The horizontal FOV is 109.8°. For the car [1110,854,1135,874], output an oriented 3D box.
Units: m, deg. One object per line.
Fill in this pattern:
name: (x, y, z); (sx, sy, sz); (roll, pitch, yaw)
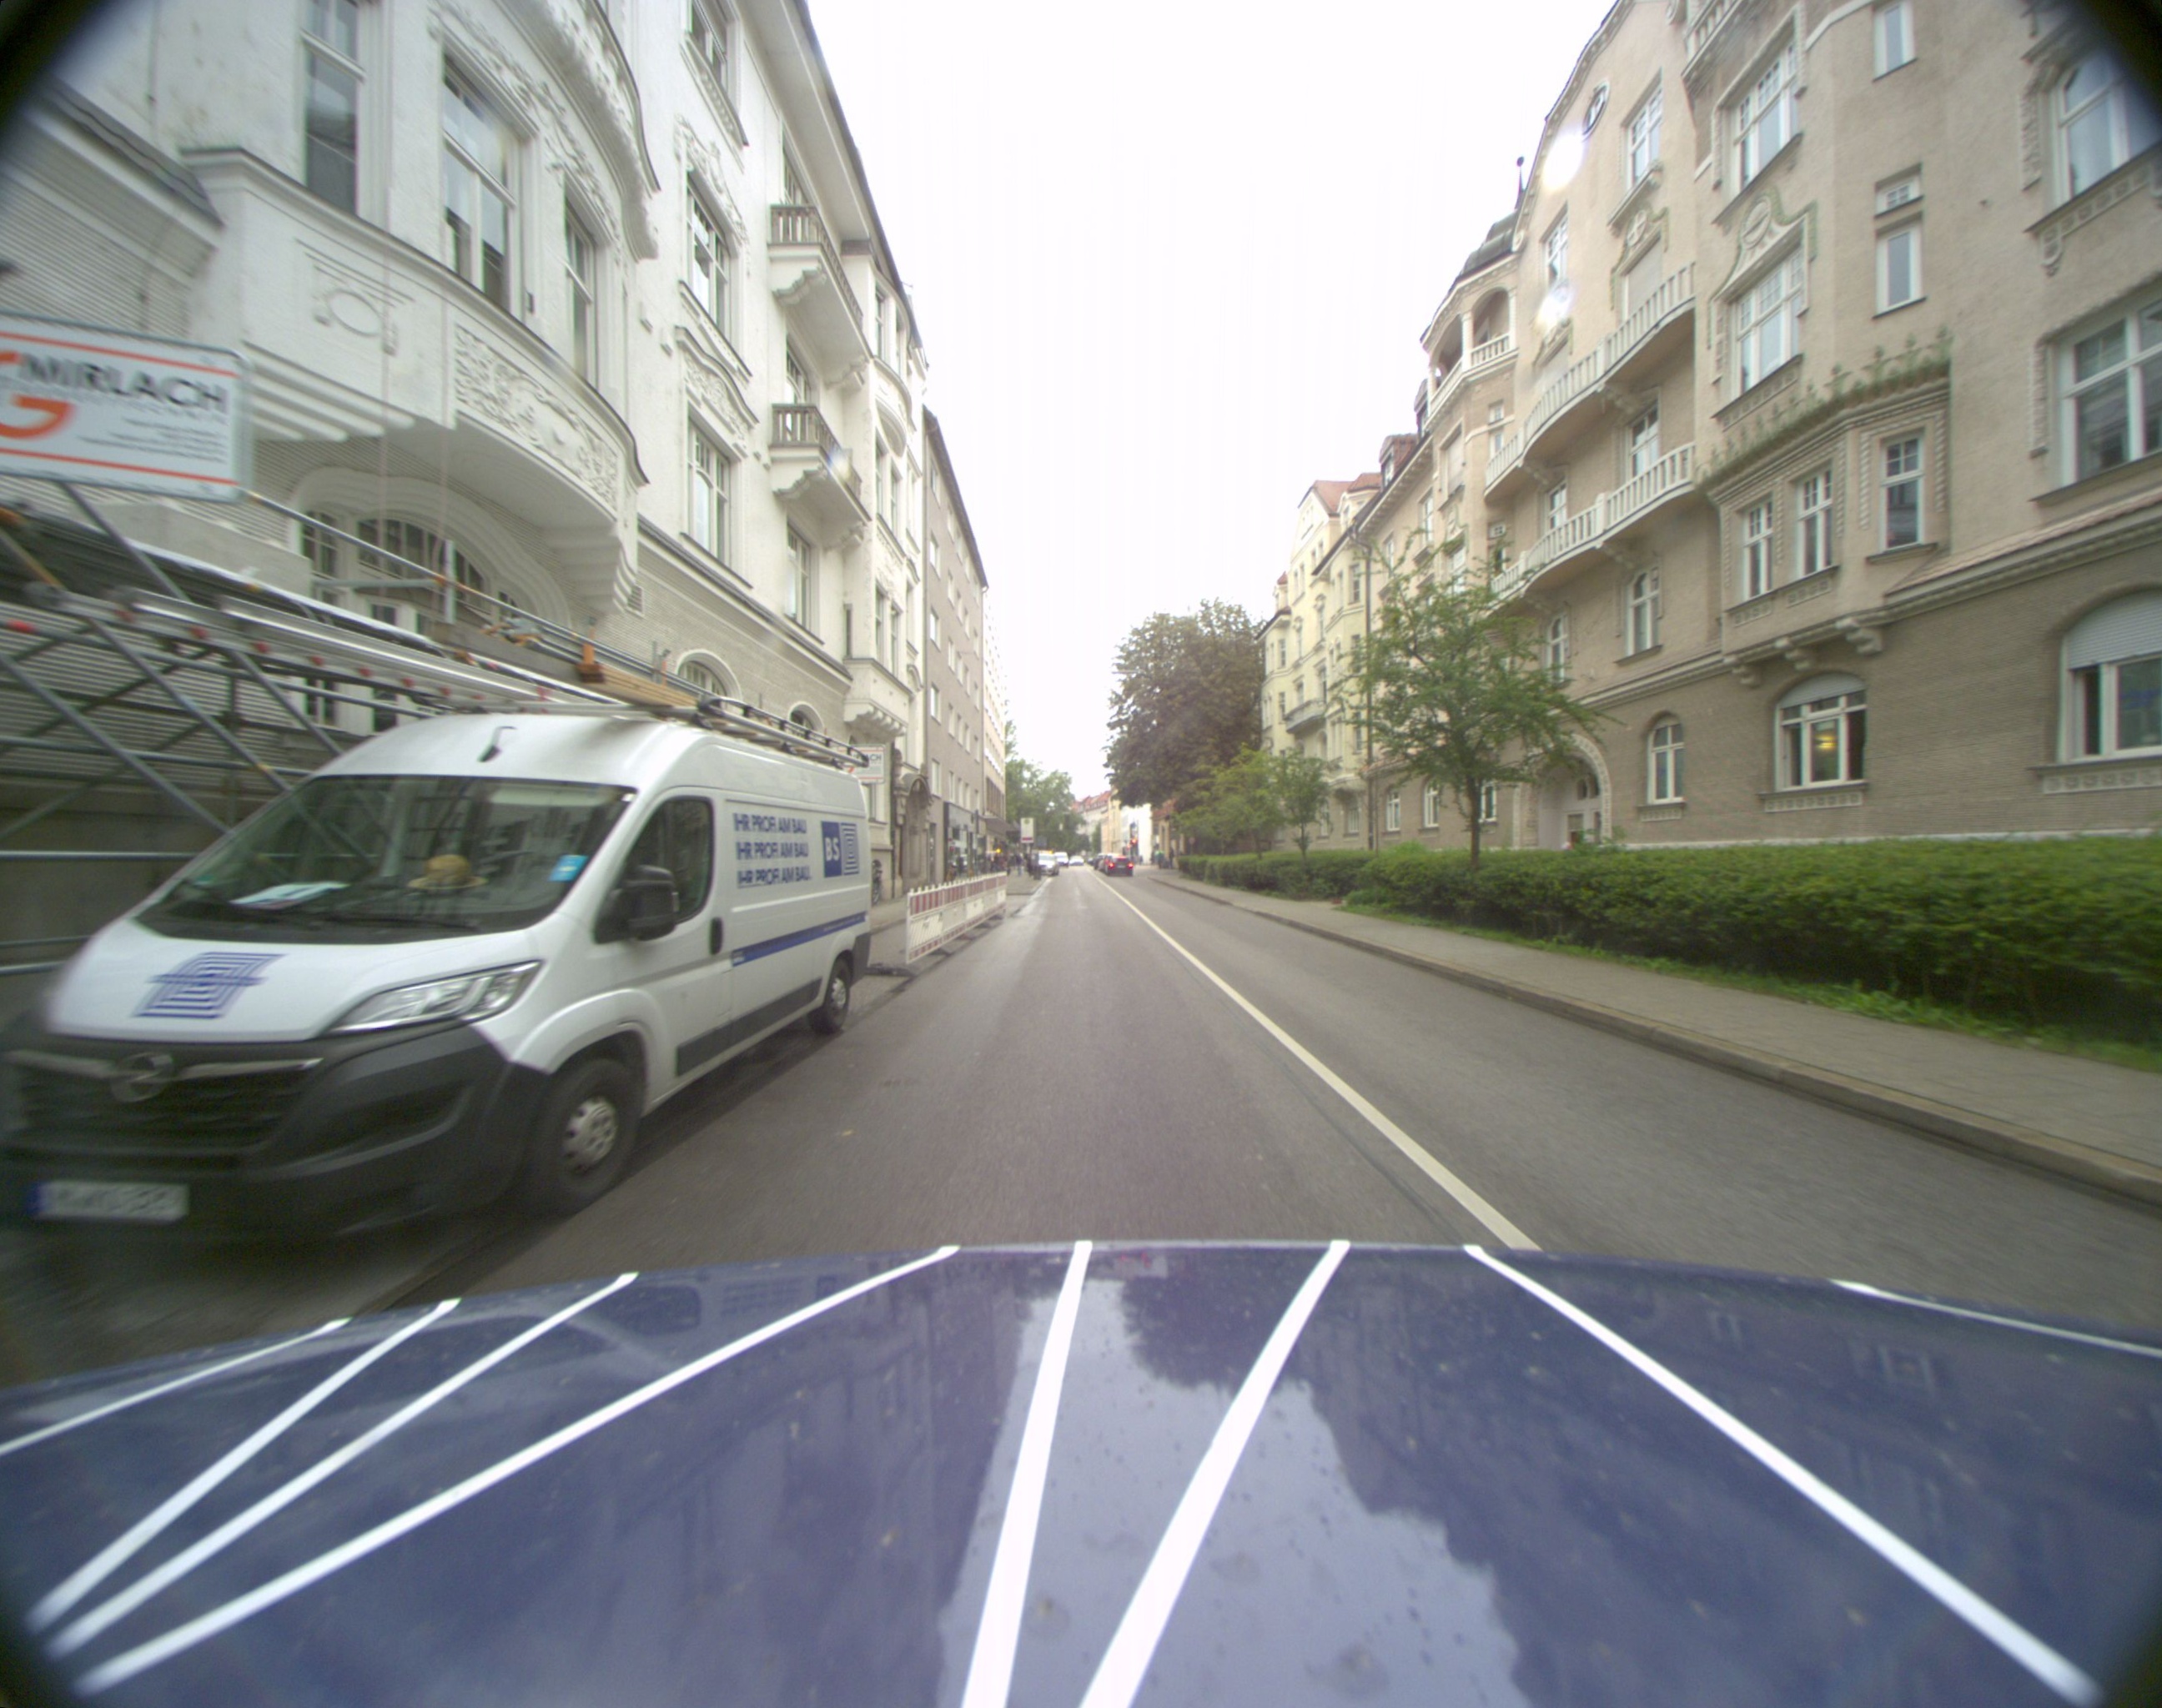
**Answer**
car: (3.106, 0.693, 56.104); (1.723, 1.398, 4.001); (0, 0, 4)

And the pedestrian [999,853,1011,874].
pedestrian: (-5.154, 0.633, 51.844); (0.747, 1.439, 0.571); (0, 1, 0)

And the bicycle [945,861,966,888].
bicycle: (-5.443, 0.866, 32.925); (0.593, 1.111, 1.845); (0, 0, 0)

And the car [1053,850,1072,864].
car: (-2.247, 0.385, 91.576); (1.918, 1.648, 4.602); (0, 0, 3)

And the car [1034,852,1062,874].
car: (-2.524, 0.697, 58.596); (1.723, 1.622, 4.001); (0, 0, 4)

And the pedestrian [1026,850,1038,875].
pedestrian: (-3.303, 0.559, 51.583); (0.745, 1.706, 0.616); (0, 1, 0)

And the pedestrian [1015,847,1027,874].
pedestrian: (-4.240, 0.470, 53.806); (0.826, 1.849, 0.820); (-1, 1, -1)

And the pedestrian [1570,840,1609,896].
pedestrian: (14.710, 0.398, 21.982); (0.611, 1.602, 0.721); (0, 1, -12)

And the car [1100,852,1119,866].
car: (2.884, 0.454, 76.481); (1.723, 1.398, 4.001); (0, 0, 4)

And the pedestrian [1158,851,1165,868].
pedestrian: (7.452, 0.501, 70.170); (0.625, 1.579, 0.662); (0, 1, 0)

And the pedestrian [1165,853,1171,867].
pedestrian: (7.991, 0.541, 69.842); (0.546, 1.237, 0.577); (0, 1, 0)

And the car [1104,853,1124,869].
car: (3.043, 0.642, 69.187); (1.723, 1.398, 4.001); (0, 0, 4)

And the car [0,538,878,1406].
car: (-3.184, 0.353, 5.080); (2.082, 2.673, 5.445); (1, 0, 1)

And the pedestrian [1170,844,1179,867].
pedestrian: (8.225, 0.124, 66.867); (0.625, 1.945, 0.662); (0, 1, 0)

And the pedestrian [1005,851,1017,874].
pedestrian: (-4.894, 0.597, 53.267); (0.837, 1.580, 0.806); (0, 1, -4)

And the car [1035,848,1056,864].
car: (-3.640, 0.198, 78.514); (1.723, 1.622, 4.001); (0, 0, 4)

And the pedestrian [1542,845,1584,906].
pedestrian: (12.836, 0.556, 20.265); (0.611, 1.602, 0.721); (0, 1, -12)

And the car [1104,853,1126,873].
car: (2.861, 0.720, 62.721); (1.723, 1.536, 4.001); (0, 0, 4)

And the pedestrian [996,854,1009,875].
pedestrian: (-5.180, 0.689, 50.424); (0.837, 1.399, 0.866); (0, 1, -4)

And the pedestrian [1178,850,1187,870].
pedestrian: (8.150, 0.495, 60.754); (0.625, 1.611, 0.662); (0, 1, 0)

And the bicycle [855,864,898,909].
bicycle: (-5.588, 0.874, 20.869); (0.684, 1.164, 1.653); (0, 0, 2)
